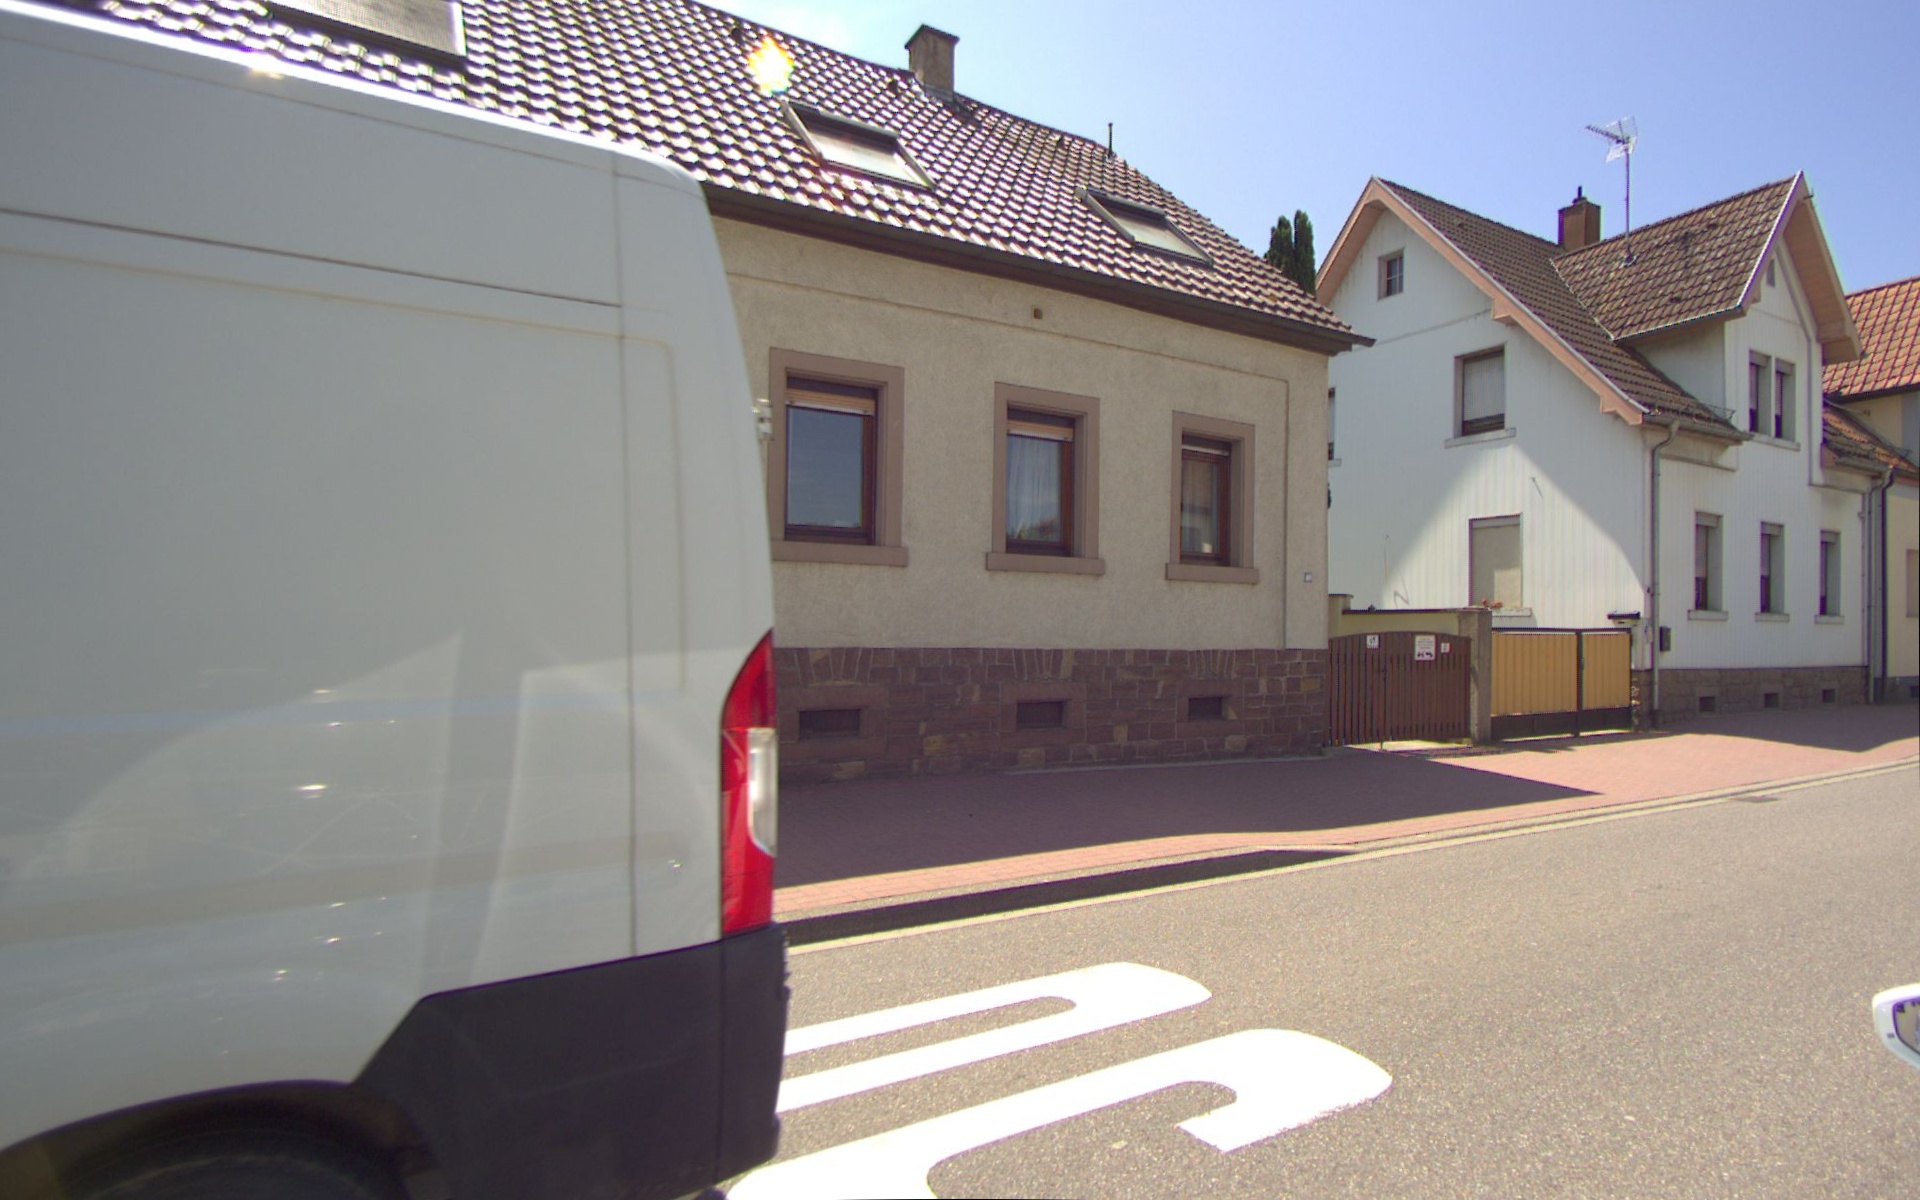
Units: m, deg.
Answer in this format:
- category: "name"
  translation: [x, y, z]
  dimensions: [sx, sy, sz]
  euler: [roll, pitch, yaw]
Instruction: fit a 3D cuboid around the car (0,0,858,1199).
- category: "car"
  translation: [-3.256, 0.226, 1.333]
  dimensions: [5.940, 2.487, 2.059]
  euler: [1, -2, -32]
